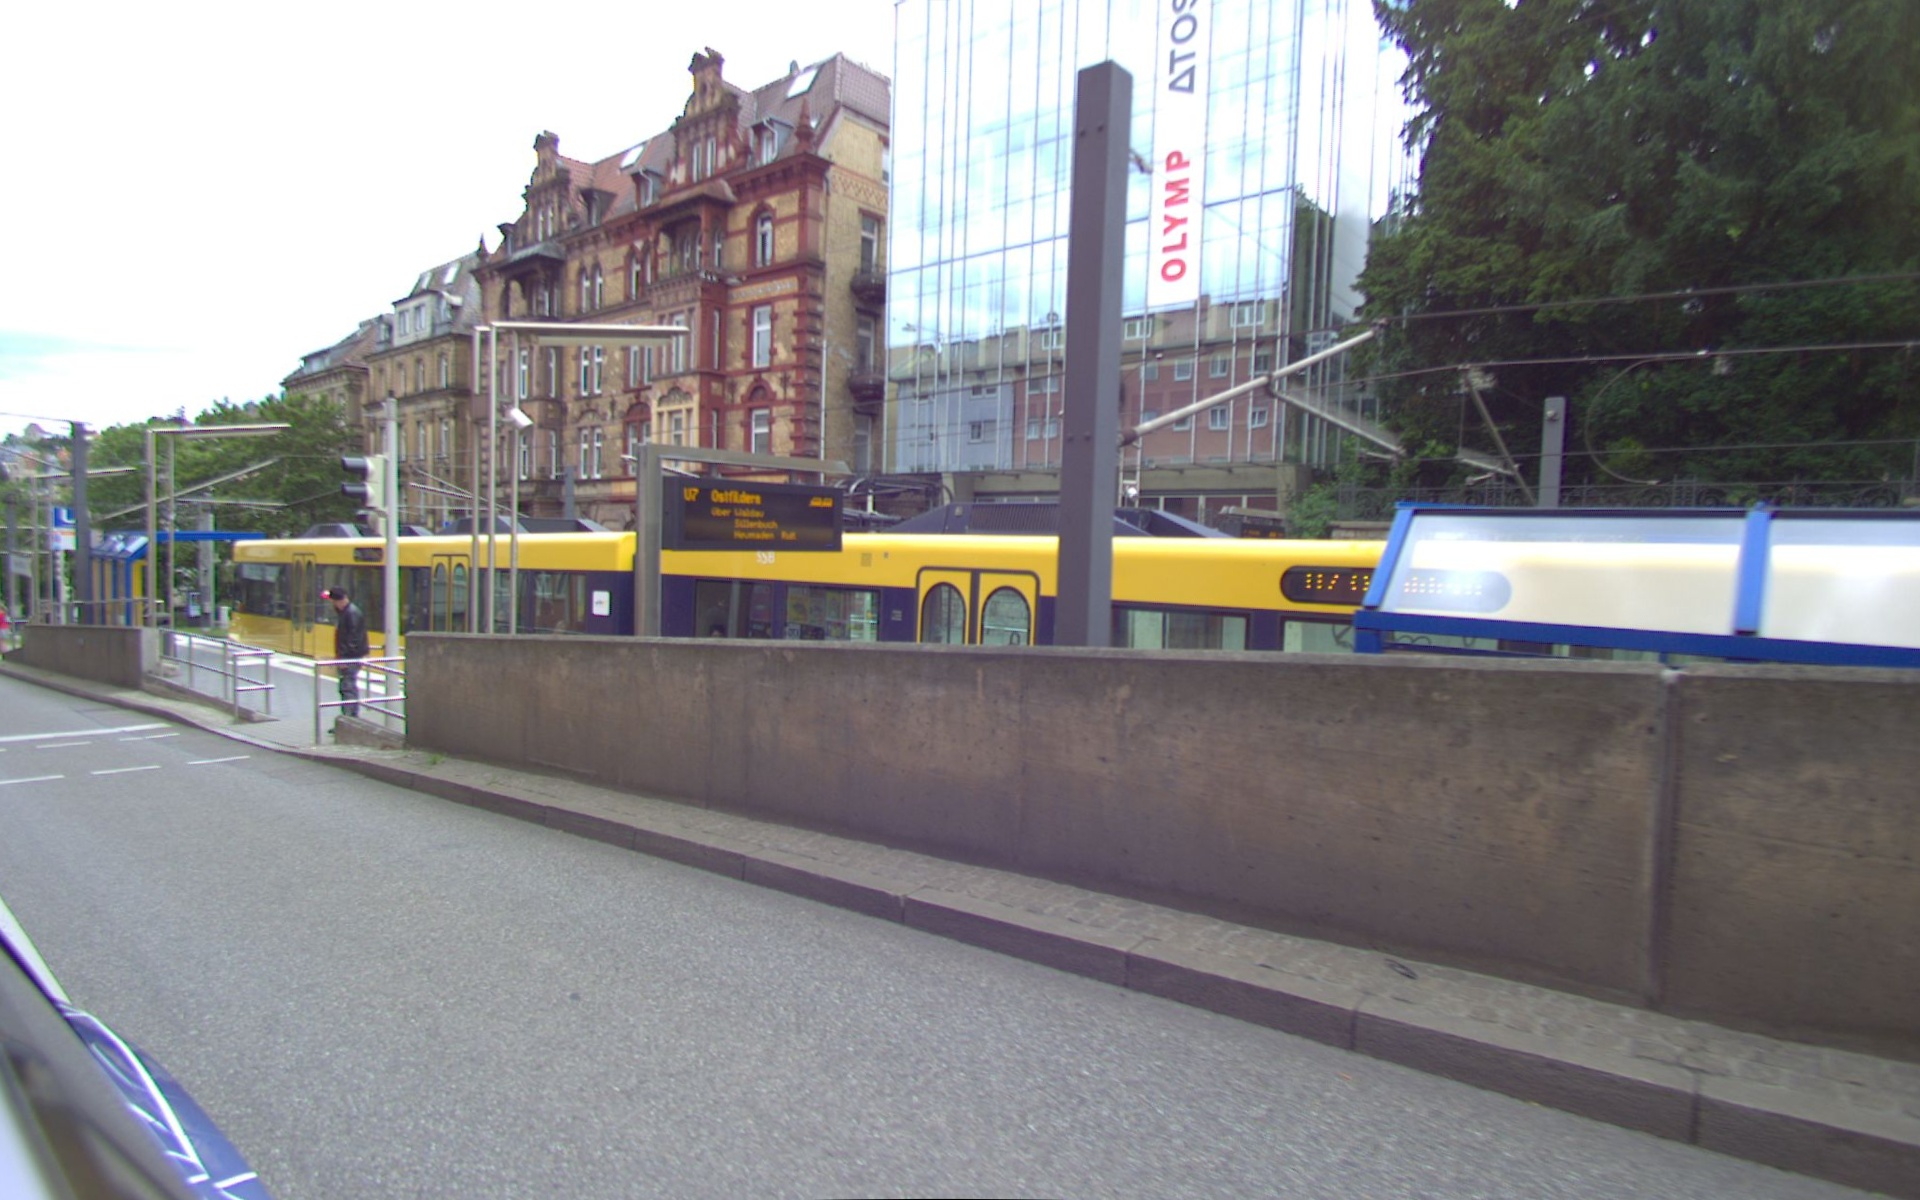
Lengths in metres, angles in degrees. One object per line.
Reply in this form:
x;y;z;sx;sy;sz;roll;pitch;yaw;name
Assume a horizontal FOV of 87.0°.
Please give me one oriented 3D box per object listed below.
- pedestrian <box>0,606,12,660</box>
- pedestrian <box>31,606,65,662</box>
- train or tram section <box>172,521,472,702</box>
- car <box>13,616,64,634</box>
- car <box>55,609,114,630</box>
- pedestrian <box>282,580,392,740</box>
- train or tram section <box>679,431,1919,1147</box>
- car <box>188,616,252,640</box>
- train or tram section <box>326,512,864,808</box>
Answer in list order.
-30.350;1.048;31.833;0.684;1.693;0.671;-1;0;38;pedestrian
-28.431;1.062;31.544;0.658;1.708;0.616;-1;0;31;pedestrian
-16.276;0.129;25.119;12.393;3.569;2.919;1;1;41;train or tram section
-102.800;2.778;112.911;1.775;1.828;3.825;-1;0;25;car
-81.432;1.795;94.207;1.770;1.828;3.836;-1;0;17;car
-7.332;0.673;11.919;0.801;1.790;0.809;-1;0;34;pedestrian
2.250;0.811;9.020;12.213;3.509;2.919;2;2;41;train or tram section
-57.622;2.149;78.883;1.764;1.700;3.848;-1;1;9;car
-6.922;0.432;17.021;12.214;3.497;2.919;3;3;41;train or tram section
